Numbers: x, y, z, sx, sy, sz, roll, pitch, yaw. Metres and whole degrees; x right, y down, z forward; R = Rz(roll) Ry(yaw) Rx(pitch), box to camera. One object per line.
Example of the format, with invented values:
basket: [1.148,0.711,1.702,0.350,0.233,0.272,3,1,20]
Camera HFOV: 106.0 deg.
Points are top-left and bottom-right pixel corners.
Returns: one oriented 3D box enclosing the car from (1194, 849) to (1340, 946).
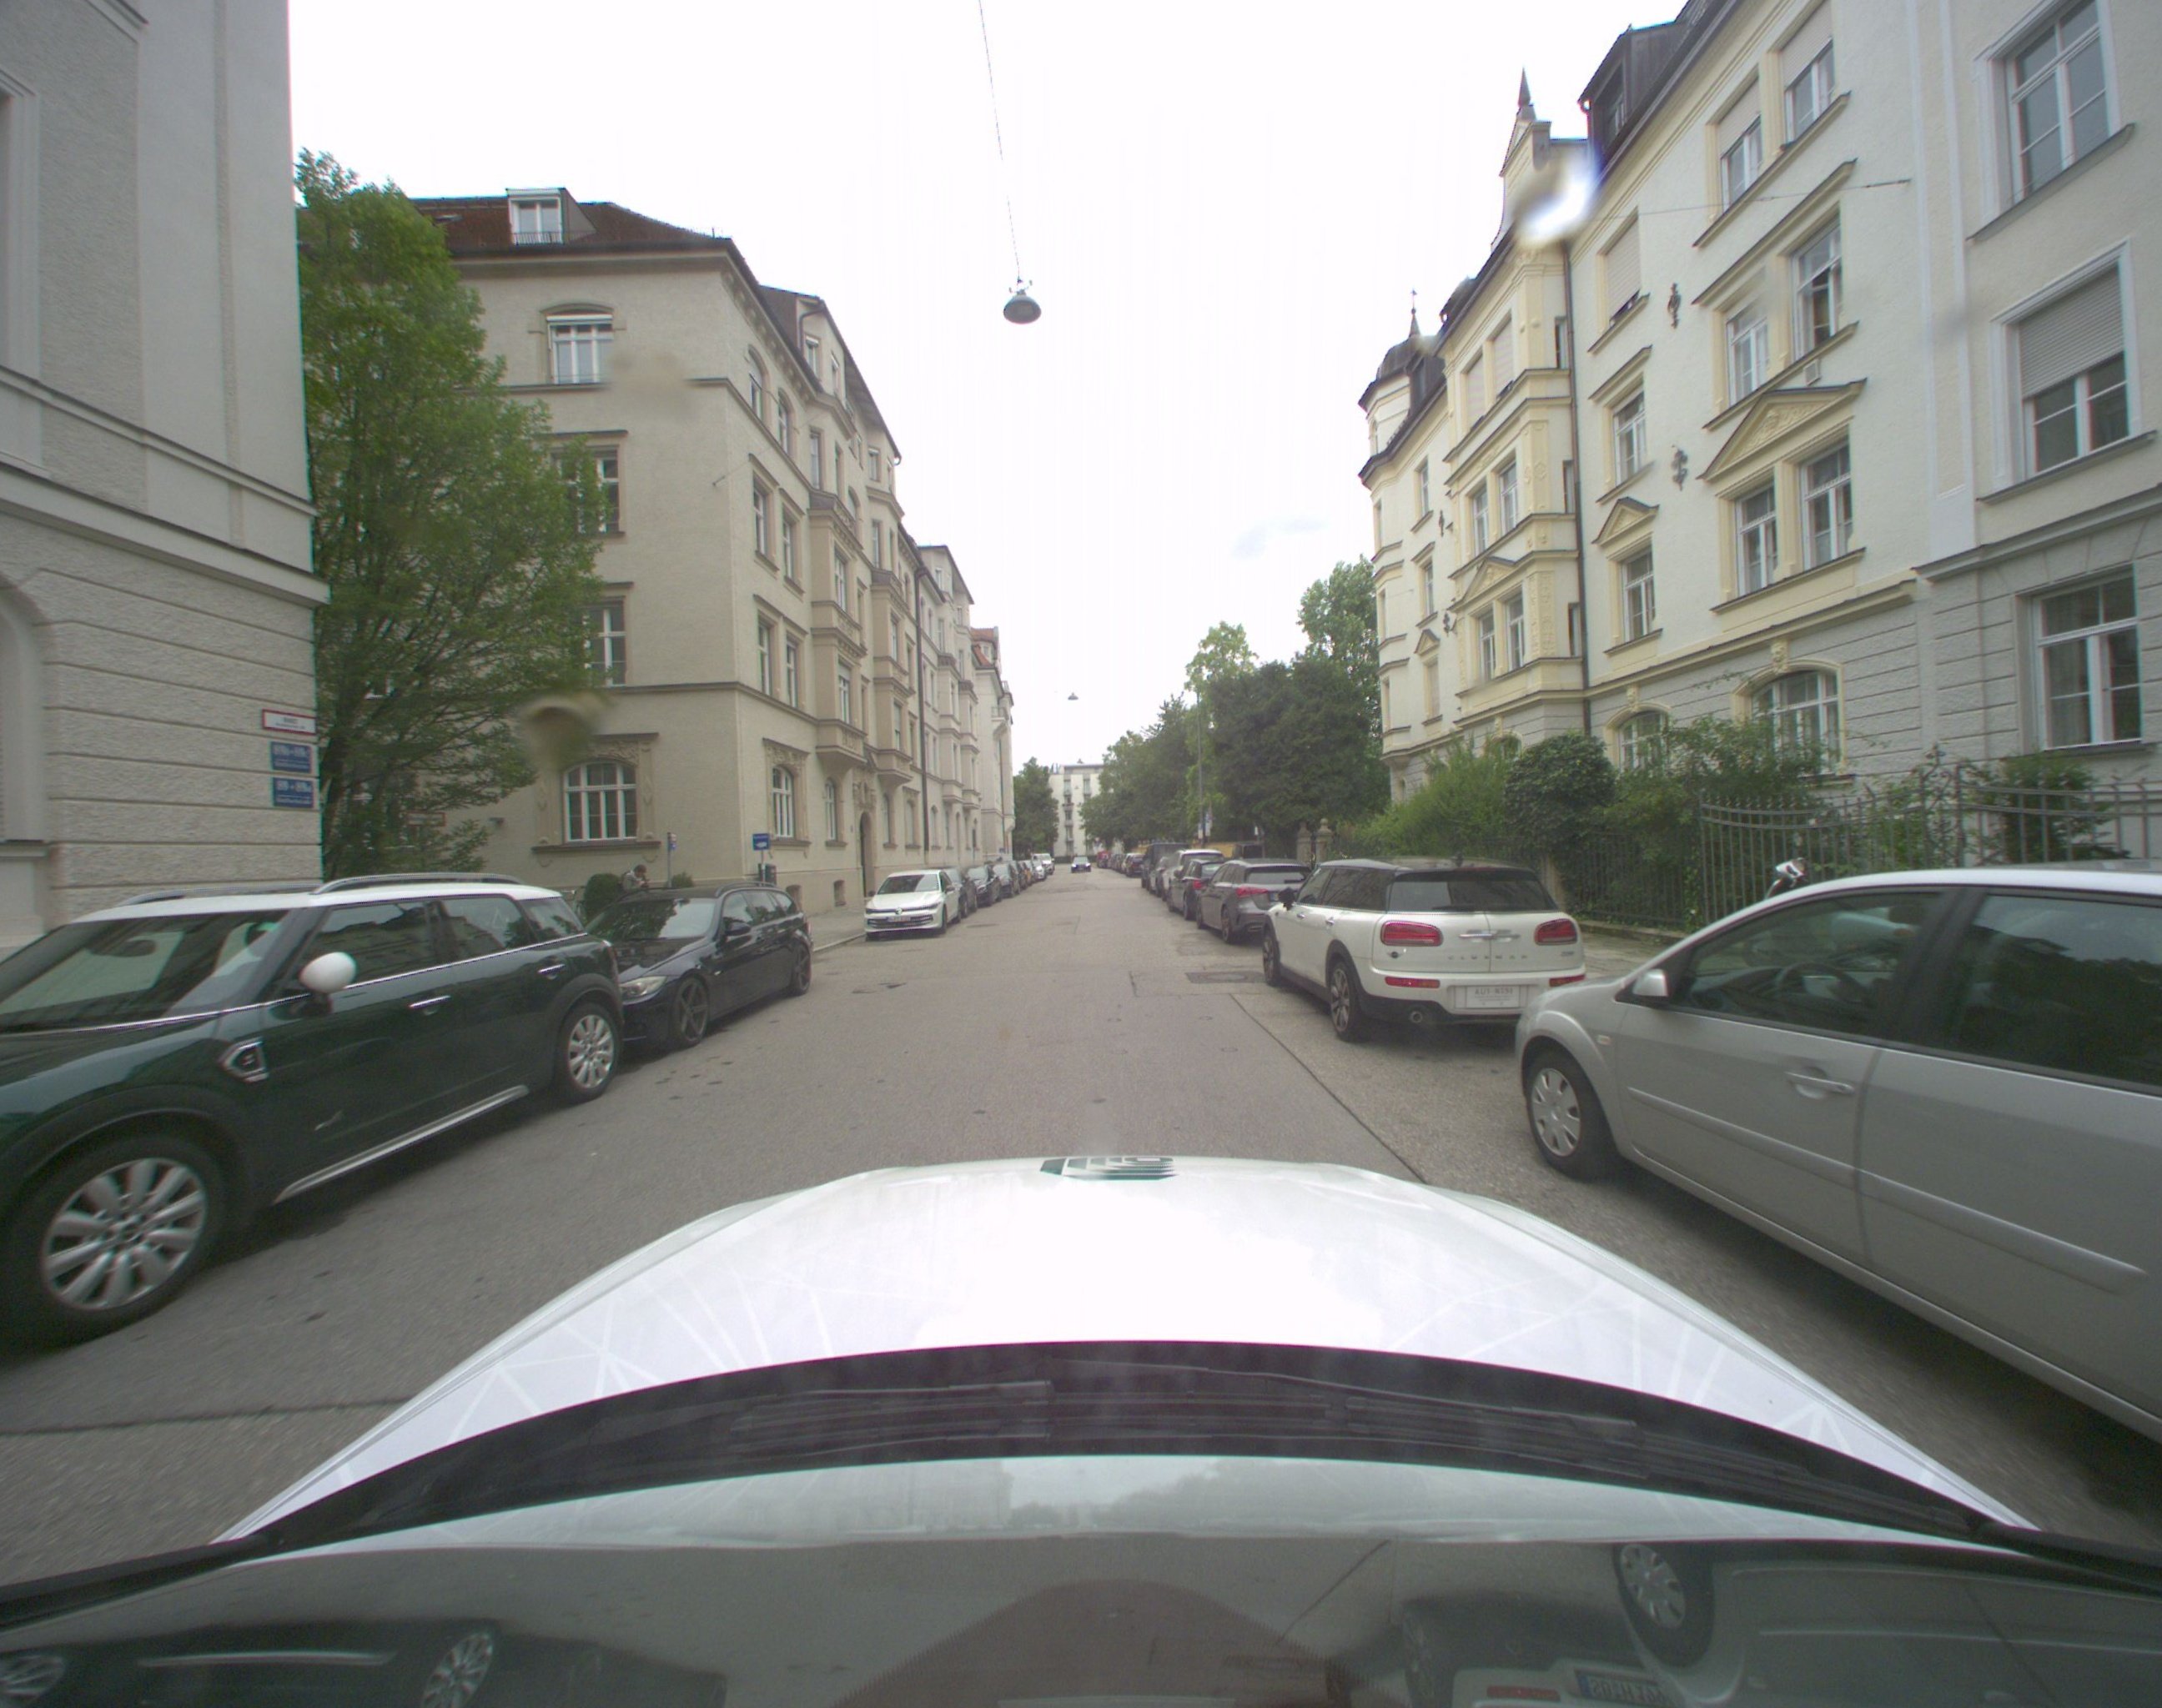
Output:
car: [3.252,0.692,15.029,1.679,1.504,4.016,-1,0,-1]

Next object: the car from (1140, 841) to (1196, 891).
car: [3.638,0.431,34.747,1.944,1.954,4.666,-1,1,1]

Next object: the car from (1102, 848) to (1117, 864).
car: [3.634,0.206,103.373,1.829,1.927,4.008,0,1,3]

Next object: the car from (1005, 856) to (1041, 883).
car: [-3.551,0.951,50.408,1.719,1.499,3.931,-4,0,2]

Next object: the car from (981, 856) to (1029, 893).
car: [-3.647,0.955,39.716,1.747,1.499,4.020,-4,0,2]

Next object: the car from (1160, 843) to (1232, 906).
car: [3.454,0.586,25.117,1.716,1.769,4.414,0,0,2]

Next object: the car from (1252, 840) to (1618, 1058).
car: [2.934,0.669,7.800,1.778,1.504,4.066,-1,0,1]

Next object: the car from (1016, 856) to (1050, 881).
car: [-3.205,0.950,55.301,1.830,1.438,4.276,-5,0,2]

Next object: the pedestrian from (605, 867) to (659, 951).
pedestrian: [-9.090,1.096,16.512,0.671,1.626,0.630,-2,0,-2]

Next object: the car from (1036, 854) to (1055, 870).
car: [-4.170,0.975,97.469,2.009,1.634,4.412,-5,0,-1]

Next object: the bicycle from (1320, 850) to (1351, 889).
bicycle: [7.511,0.441,24.043,0.453,1.098,1.313,-2,0,0]

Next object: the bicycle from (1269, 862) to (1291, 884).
bicycle: [7.469,0.717,30.573,0.511,0.781,1.355,-2,0,2]

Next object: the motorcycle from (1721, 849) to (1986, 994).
motorcycle: [6.813,0.528,7.352,0.604,1.112,1.967,-2,0,4]

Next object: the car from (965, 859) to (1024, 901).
car: [-3.573,1.025,34.332,1.830,1.435,4.246,-5,0,2]

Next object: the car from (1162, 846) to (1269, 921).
car: [3.183,0.630,20.126,1.746,1.610,4.420,-1,1,-2]

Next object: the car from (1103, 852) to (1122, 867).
car: [3.546,0.622,91.530,1.834,1.519,3.943,-1,0,-3]

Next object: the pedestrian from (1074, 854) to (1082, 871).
pedestrian: [-0.405,1.150,112.883,0.843,2.285,0.838,-2,0,-15]

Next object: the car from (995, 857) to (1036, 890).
car: [-3.553,1.034,44.834,1.634,1.499,3.974,-5,0,2]

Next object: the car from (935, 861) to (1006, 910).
car: [-3.854,1.056,29.176,1.828,1.434,4.553,-4,0,0]

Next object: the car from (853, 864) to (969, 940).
car: [-3.944,1.051,19.660,1.831,1.434,4.243,-4,0,0]

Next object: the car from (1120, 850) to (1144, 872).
car: [3.925,0.536,62.819,1.509,1.661,3.672,-1,0,-1]

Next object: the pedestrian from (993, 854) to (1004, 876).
pedestrian: [-6.660,0.897,66.033,0.791,1.679,0.699,-2,0,-6]

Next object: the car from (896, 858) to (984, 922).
car: [-4.081,0.981,24.261,1.765,1.518,4.383,-5,0,-1]

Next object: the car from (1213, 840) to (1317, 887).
car: [8.883,0.422,39.560,4.523,1.950,1.900,-3,2,-6]

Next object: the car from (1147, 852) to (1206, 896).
car: [3.440,0.690,29.934,1.718,1.519,3.629,0,0,-1]

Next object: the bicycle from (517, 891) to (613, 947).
bicycle: [-11.211,1.380,17.784,0.691,0.960,2.011,0,3,3]

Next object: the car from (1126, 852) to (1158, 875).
car: [3.940,0.630,53.031,1.832,1.413,4.343,-1,0,1]

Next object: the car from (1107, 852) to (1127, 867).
car: [3.851,0.559,87.720,1.834,1.519,3.943,-1,0,-3]

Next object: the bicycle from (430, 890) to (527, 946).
bicycle: [-13.238,1.375,17.978,0.582,1.003,1.909,-1,2,4]

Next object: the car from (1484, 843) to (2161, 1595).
car: [2.935,0.686,2.480,1.748,1.406,3.452,-1,0,1]

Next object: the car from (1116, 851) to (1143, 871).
car: [4.021,0.580,68.008,1.834,1.551,3.943,-1,0,-3]

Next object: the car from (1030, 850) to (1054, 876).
car: [-3.497,0.784,73.810,1.881,2.127,4.704,-5,0,-1]

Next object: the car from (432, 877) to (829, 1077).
car: [-4.354,1.065,8.836,1.781,1.412,4.367,-2,0,1]

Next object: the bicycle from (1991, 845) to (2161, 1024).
bicycle: [7.062,0.511,5.183,0.432,1.125,1.882,-2,0,2]

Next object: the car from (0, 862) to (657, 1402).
car: [-4.294,0.923,4.247,1.830,1.618,4.245,-2,0,1]

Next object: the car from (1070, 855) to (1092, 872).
car: [-0.012,0.861,76.605,1.869,1.428,4.406,-2,0,-1]
